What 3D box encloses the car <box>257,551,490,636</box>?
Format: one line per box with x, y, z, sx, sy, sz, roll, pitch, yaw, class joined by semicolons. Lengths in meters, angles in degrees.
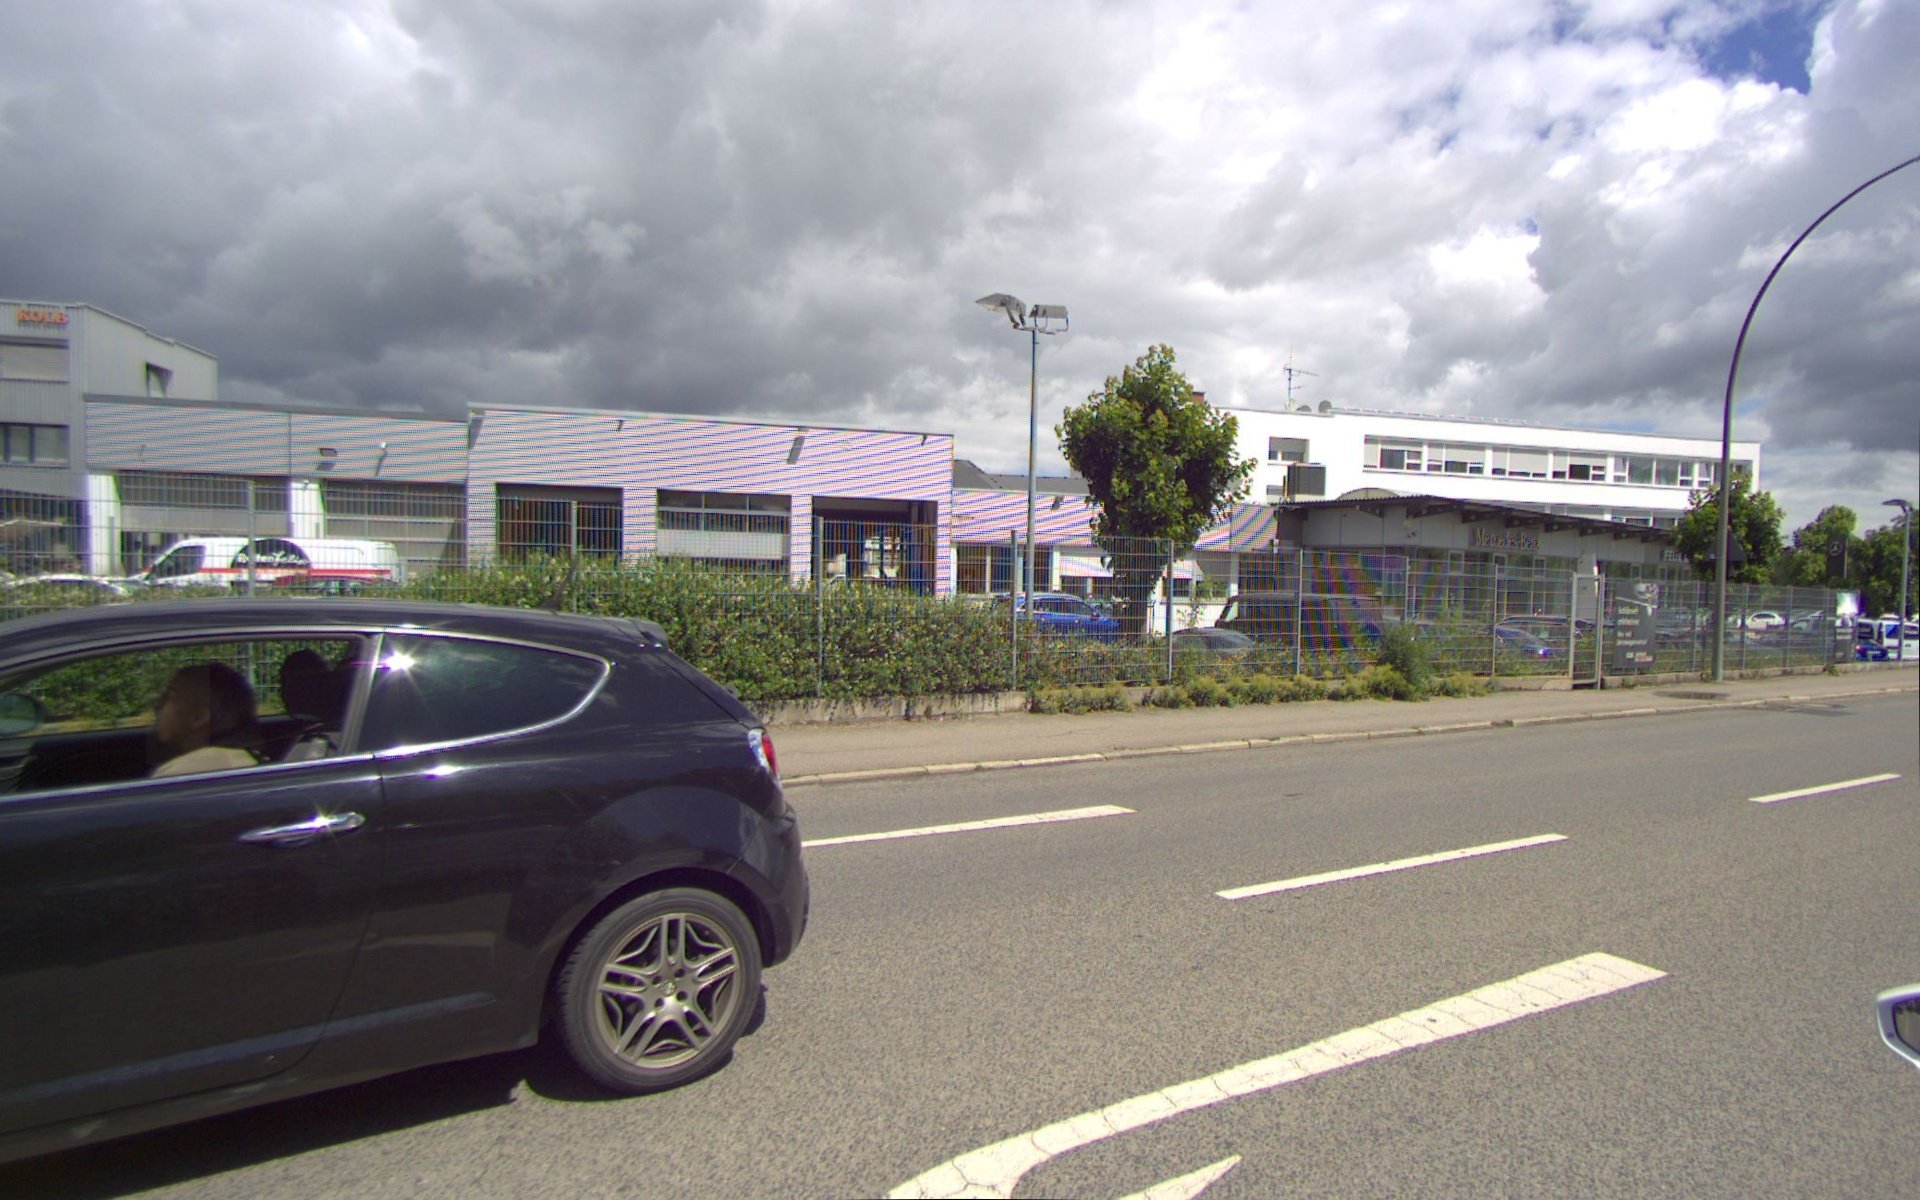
-12.724;-0.132;22.079;4.086;1.627;1.720;2;1;-18;car

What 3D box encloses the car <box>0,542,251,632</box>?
-17.309;-0.272;20.660;4.086;1.627;1.720;2;1;-18;car

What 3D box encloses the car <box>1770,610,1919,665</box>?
32.127;1.311;36.356;2.133;1.723;3.983;2;1;-6;car

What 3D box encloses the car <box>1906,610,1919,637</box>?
64.967;1.625;65.541;4.229;1.786;2.000;2;1;18;car

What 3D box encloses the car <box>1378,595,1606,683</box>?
12.260;0.836;23.421;2.149;1.723;4.169;1;1;-31;car

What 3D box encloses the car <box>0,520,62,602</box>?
-25.879;-1.070;25.363;4.267;2.040;1.993;2;1;-17;car

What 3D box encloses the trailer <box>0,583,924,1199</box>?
-2.213;0.685;2.921;3.957;1.442;1.637;1;0;-33;trailer

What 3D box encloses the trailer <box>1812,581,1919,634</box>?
74.375;0.585;80.007;9.587;4.148;2.818;0;0;33;trailer

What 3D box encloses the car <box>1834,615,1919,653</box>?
41.481;1.509;44.378;1.762;1.499;4.200;2;1;-6;car

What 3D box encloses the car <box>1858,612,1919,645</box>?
44.535;1.365;46.603;1.629;1.420;4.200;2;1;-6;car

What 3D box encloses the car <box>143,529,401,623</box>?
-16.101;-0.544;23.786;4.651;1.925;1.779;2;1;-14;car

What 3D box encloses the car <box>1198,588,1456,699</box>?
6.757;0.722;18.972;2.147;1.723;4.172;1;1;-29;car

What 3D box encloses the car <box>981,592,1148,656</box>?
2.798;0.646;27.055;4.029;1.568;1.928;2;1;-24;car

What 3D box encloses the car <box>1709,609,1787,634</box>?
54.478;1.478;69.441;3.925;1.474;1.998;2;1;-6;car

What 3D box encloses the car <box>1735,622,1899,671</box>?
29.889;1.578;35.227;1.901;1.368;4.200;2;1;-6;car

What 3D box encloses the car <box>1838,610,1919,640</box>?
56.741;1.520;61.725;3.925;1.653;1.998;2;1;-6;car

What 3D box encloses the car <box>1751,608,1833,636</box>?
55.494;1.467;67.037;3.925;1.666;1.998;2;1;-6;car

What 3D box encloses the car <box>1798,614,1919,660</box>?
37.418;1.501;41.374;1.944;1.623;4.200;2;1;-6;car
